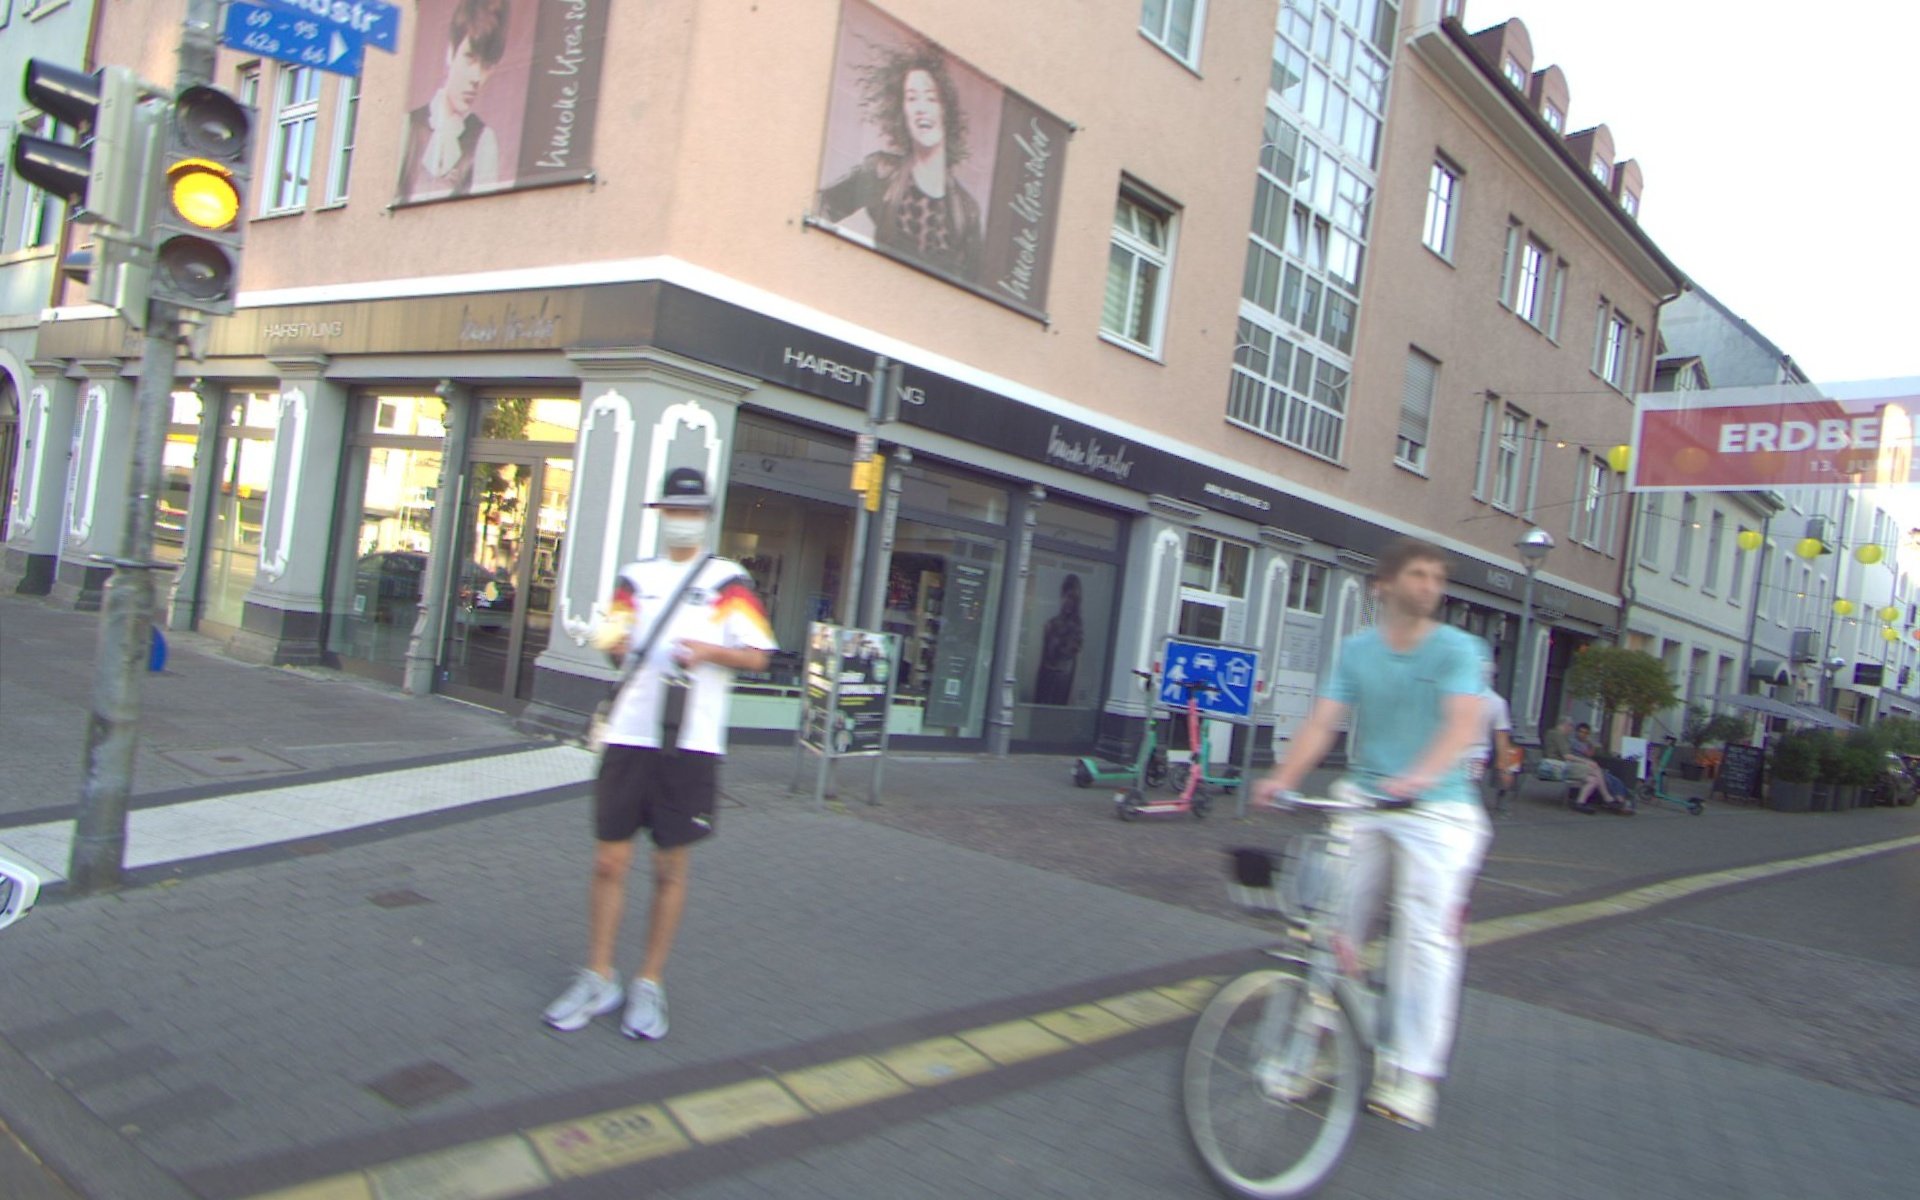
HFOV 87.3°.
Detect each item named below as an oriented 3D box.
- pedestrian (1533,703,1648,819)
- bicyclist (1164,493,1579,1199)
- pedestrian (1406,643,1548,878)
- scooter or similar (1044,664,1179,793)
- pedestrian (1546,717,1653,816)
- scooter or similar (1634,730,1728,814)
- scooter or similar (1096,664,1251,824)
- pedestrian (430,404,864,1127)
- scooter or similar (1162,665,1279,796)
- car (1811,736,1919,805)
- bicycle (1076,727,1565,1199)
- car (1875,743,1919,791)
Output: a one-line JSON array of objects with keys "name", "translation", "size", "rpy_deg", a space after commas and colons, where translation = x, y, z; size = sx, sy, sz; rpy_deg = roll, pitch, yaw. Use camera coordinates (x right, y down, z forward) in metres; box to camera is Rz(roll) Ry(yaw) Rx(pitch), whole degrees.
[{"name": "pedestrian", "translation": [9.269, 2.337, 14.842], "size": [1.209, 1.429, 0.890], "rpy_deg": [9, 0, 31]}, {"name": "bicyclist", "translation": [1.313, 0.667, 3.175], "size": [0.818, 1.848, 0.833], "rpy_deg": [7, 0, 38]}, {"name": "pedestrian", "translation": [4.436, 1.327, 8.723], "size": [0.811, 1.796, 1.100], "rpy_deg": [7, 0, 23]}, {"name": "scooter or similar", "translation": [1.516, 1.286, 9.973], "size": [1.293, 1.156, 0.360], "rpy_deg": [8, 0, -33]}, {"name": "pedestrian", "translation": [9.894, 2.547, 15.611], "size": [1.209, 1.244, 0.890], "rpy_deg": [9, 0, 31]}, {"name": "scooter or similar", "translation": [12.440, 2.949, 17.405], "size": [0.388, 1.198, 1.303], "rpy_deg": [7, 0, -10]}, {"name": "scooter or similar", "translation": [1.838, 1.235, 8.582], "size": [1.247, 1.229, 0.463], "rpy_deg": [8, 0, -37]}, {"name": "pedestrian", "translation": [-0.936, 0.461, 3.283], "size": [0.810, 1.921, 0.941], "rpy_deg": [7, 0, 9]}, {"name": "scooter or similar", "translation": [2.746, 1.384, 10.575], "size": [1.193, 1.275, 0.360], "rpy_deg": [8, 0, -35]}, {"name": "car", "translation": [26.335, 4.972, 29.182], "size": [3.624, 1.603, 1.616], "rpy_deg": [9, -1, -37]}, {"name": "bicycle", "translation": [1.249, 1.066, 3.179], "size": [0.782, 1.200, 1.819], "rpy_deg": [7, 0, 39]}, {"name": "car", "translation": [37.358, 6.594, 39.363], "size": [3.626, 1.603, 1.615], "rpy_deg": [9, -1, -38]}]
